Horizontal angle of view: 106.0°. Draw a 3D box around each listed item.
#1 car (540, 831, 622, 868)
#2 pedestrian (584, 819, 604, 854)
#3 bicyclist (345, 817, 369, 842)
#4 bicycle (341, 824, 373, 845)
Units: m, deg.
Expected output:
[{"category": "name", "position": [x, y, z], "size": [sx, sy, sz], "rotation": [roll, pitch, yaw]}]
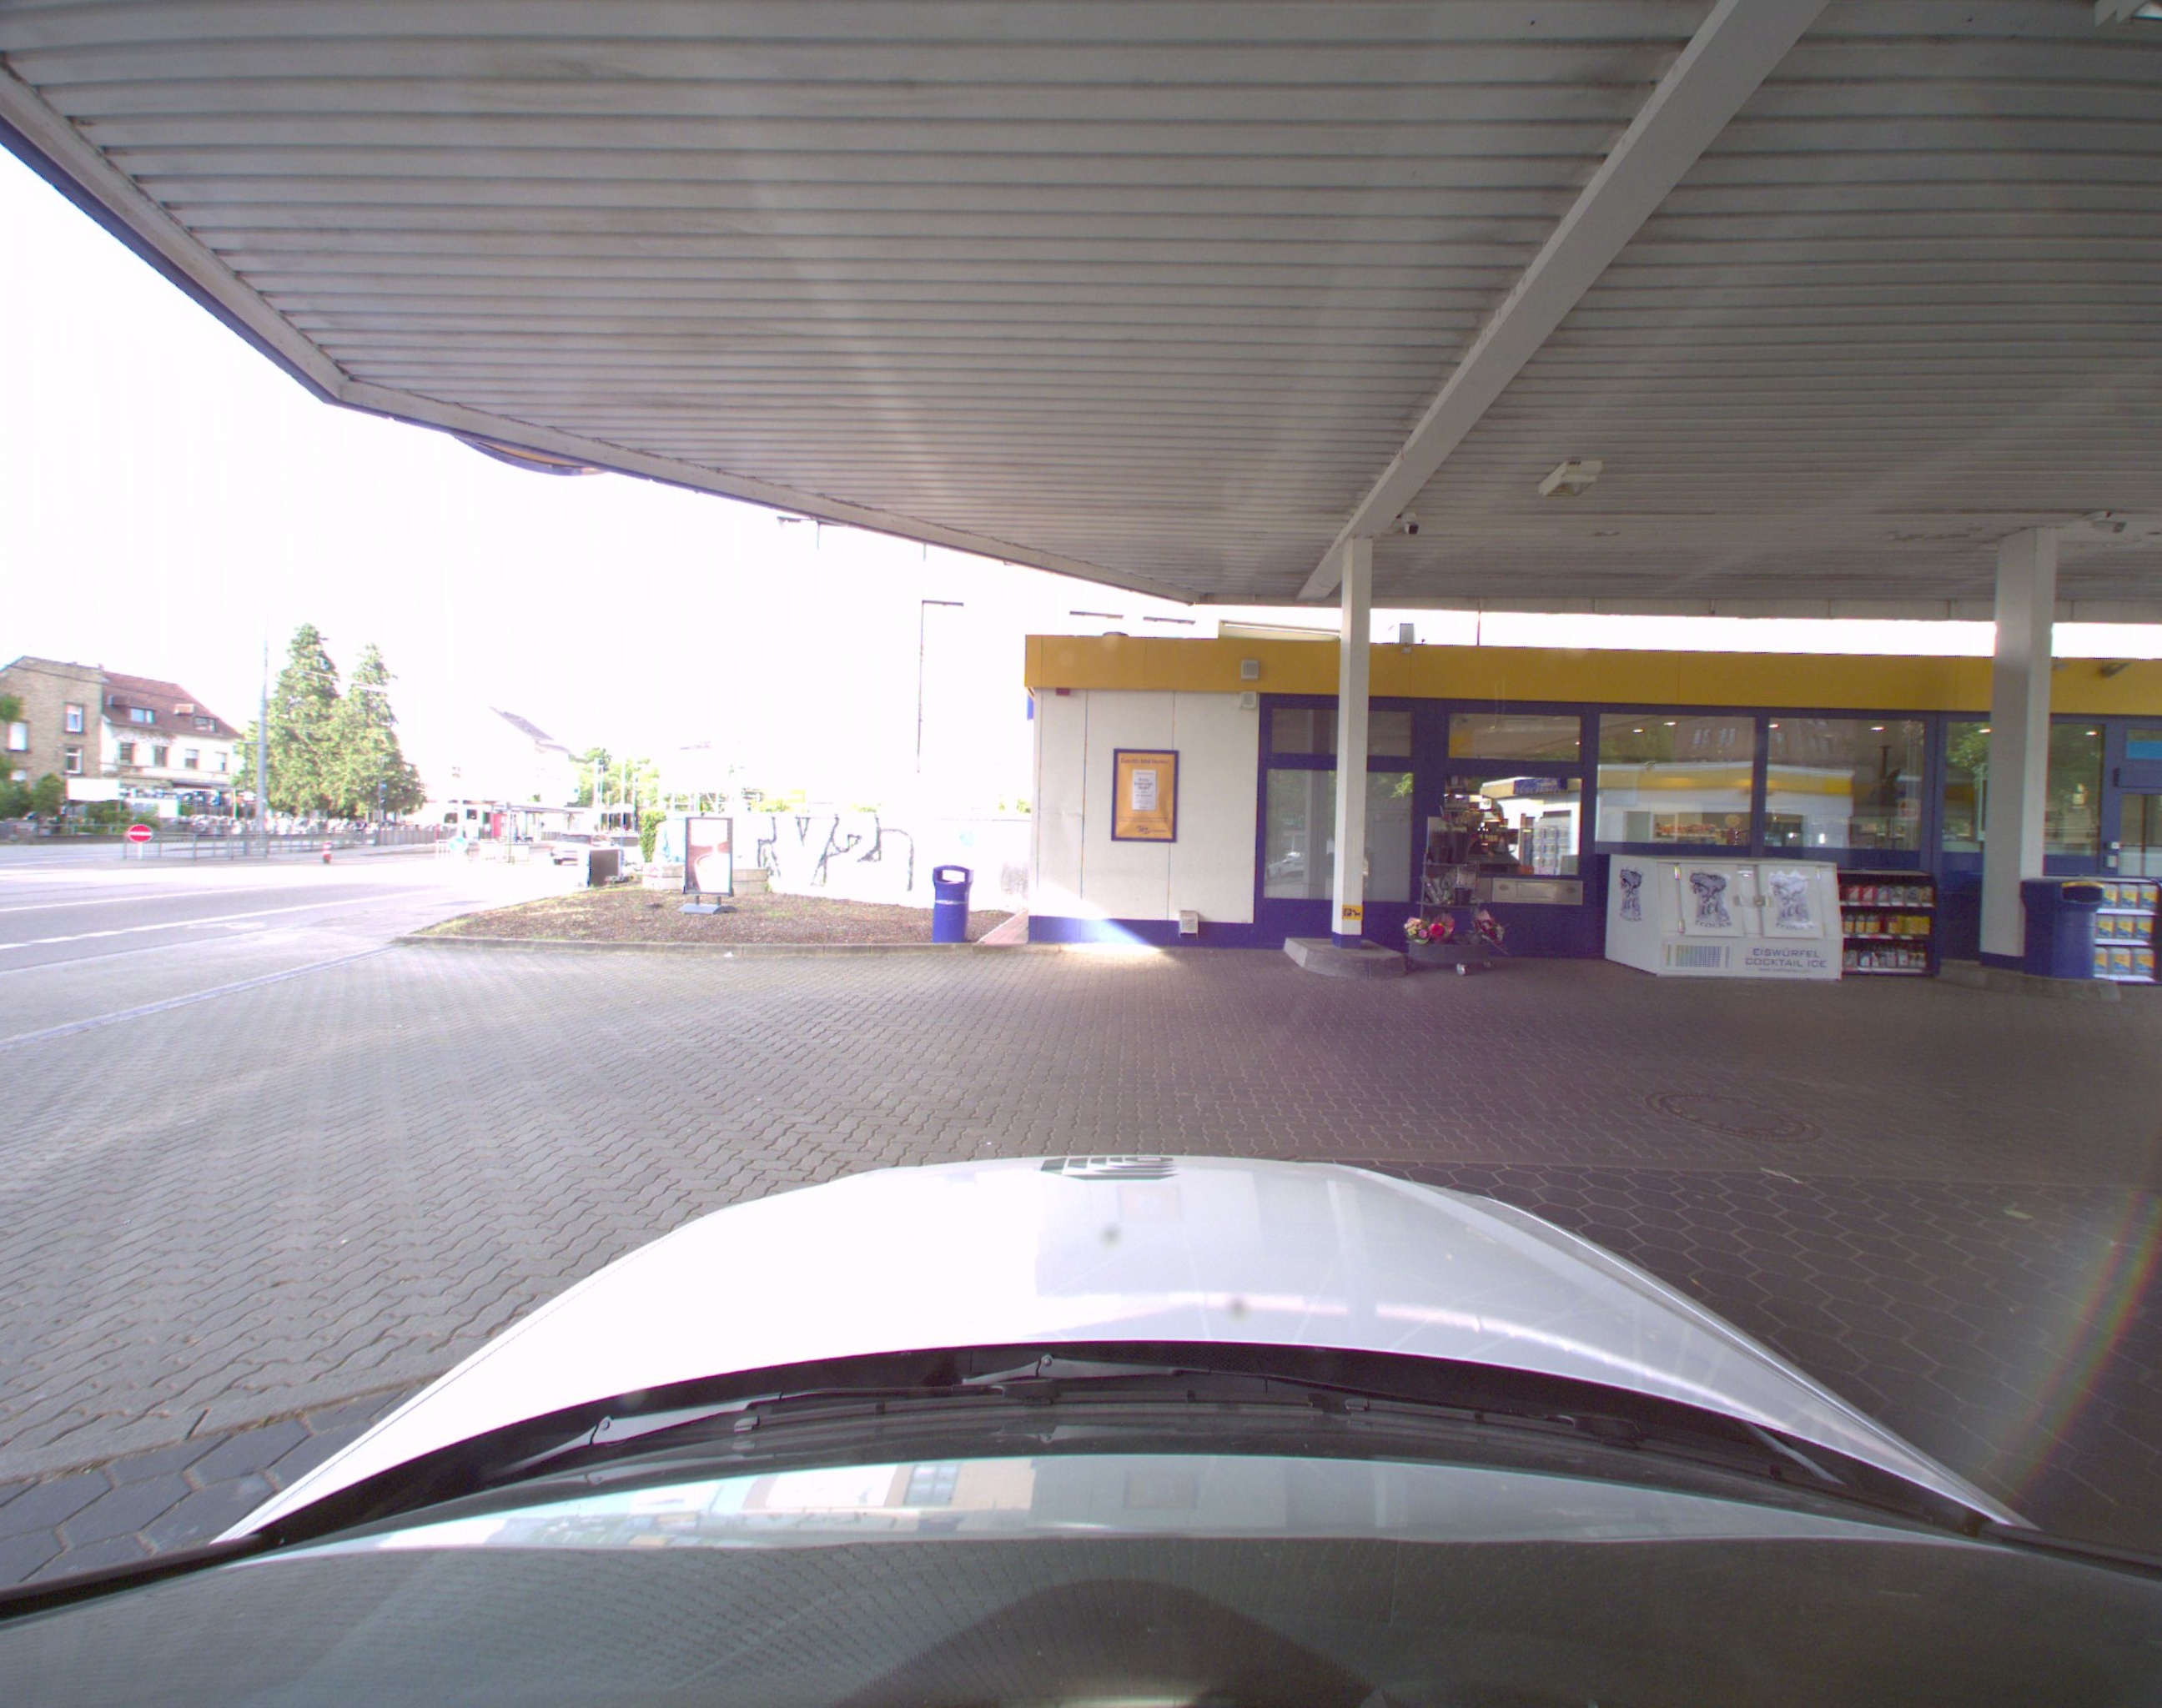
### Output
[{"category": "car", "position": [-21.607, -0.242, 35.391], "size": [1.751, 1.468, 4.548], "rotation": [2, 1, -15]}, {"category": "pedestrian", "position": [-28.200, -1.012, 47.201], "size": [0.808, 2.014, 0.846], "rotation": [0, -1, -17]}, {"category": "bicyclist", "position": [-44.063, -1.482, 49.560], "size": [0.680, 1.534, 1.079], "rotation": [0, 1, -17]}, {"category": "bicycle", "position": [-44.065, -1.202, 49.561], "size": [0.680, 1.222, 1.909], "rotation": [0, 1, -17]}]
